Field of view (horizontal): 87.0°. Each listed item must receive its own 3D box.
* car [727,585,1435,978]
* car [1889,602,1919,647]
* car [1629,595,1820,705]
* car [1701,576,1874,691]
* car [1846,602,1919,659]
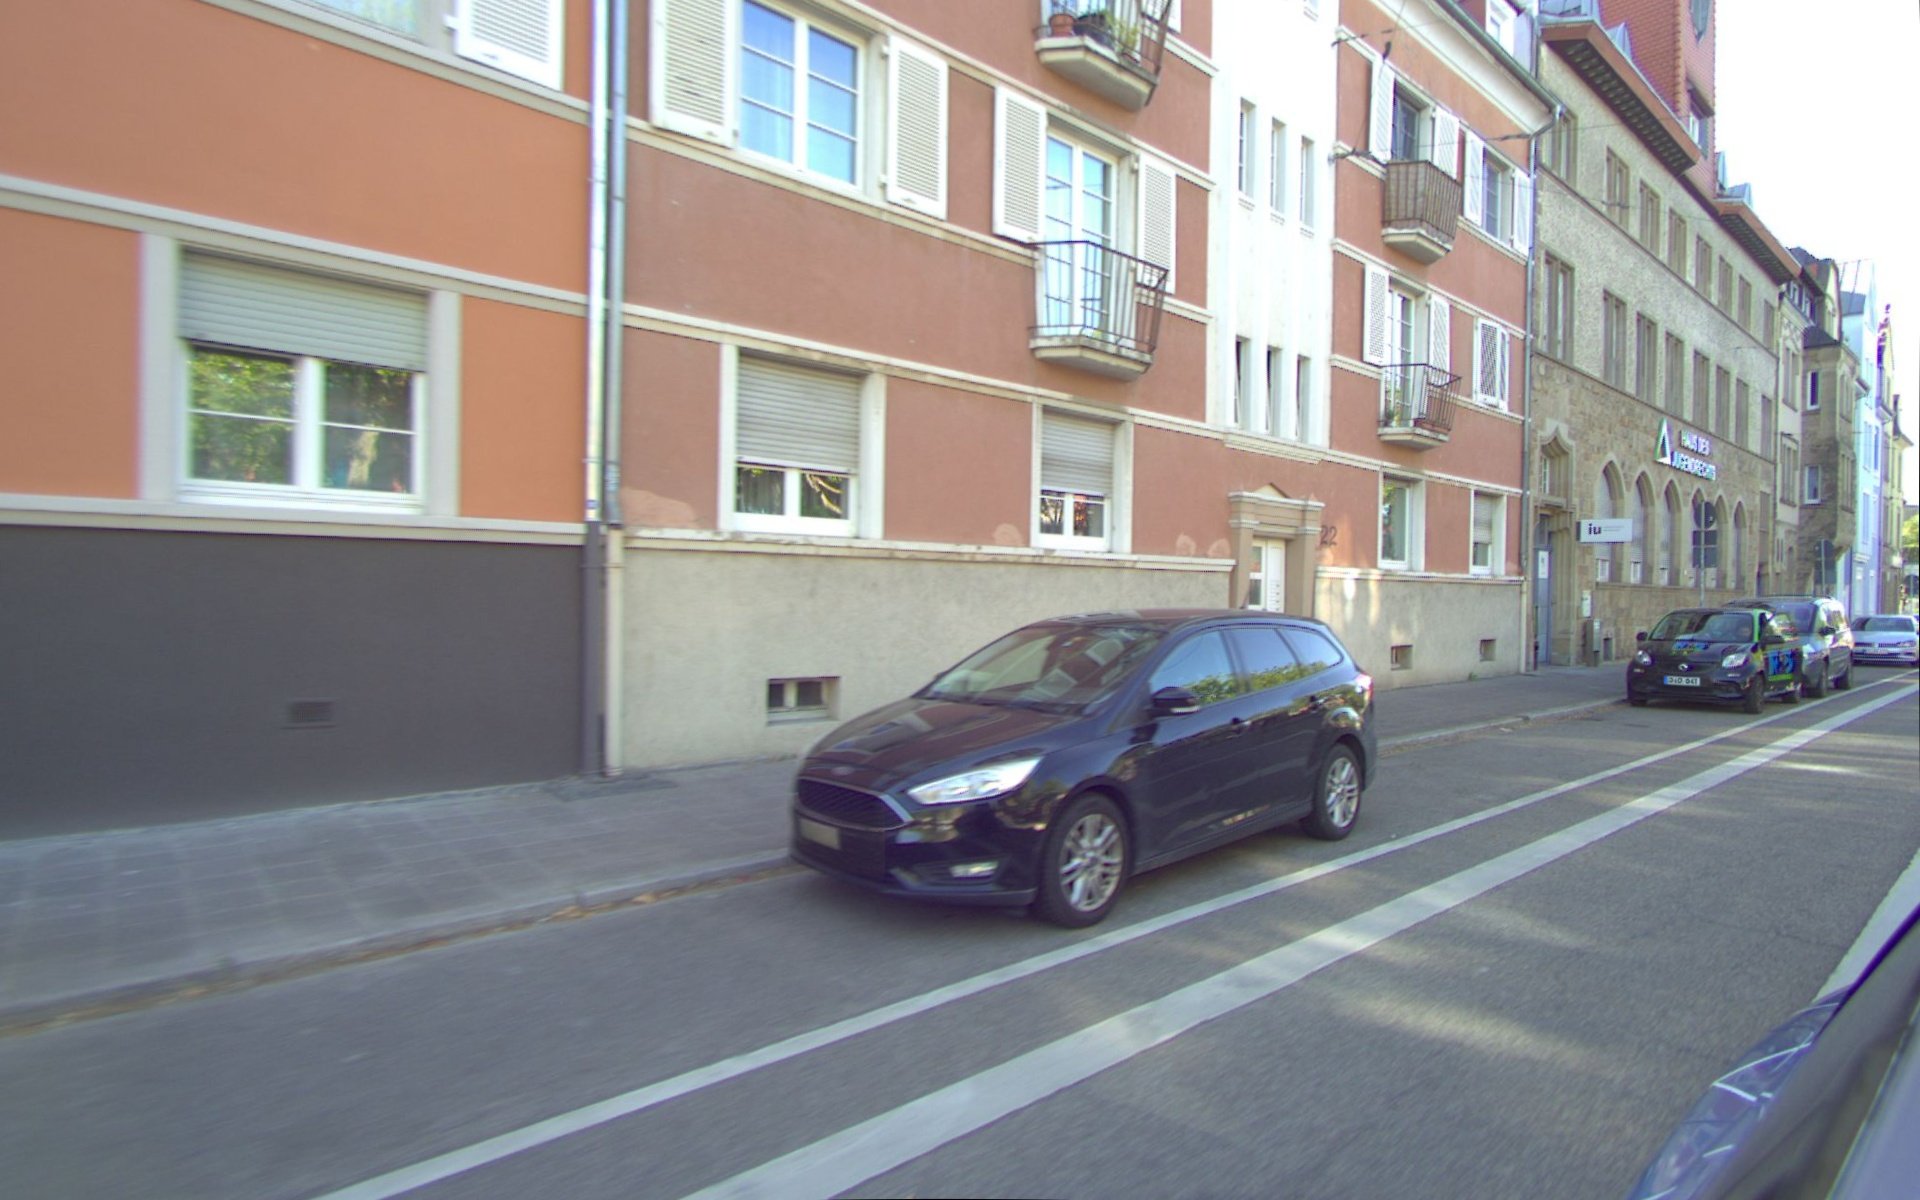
[{"bbox_3d":[1.080,0.724,6.220,4.683,1.531,1.755,0,-1,-44],"label":"car"},{"bbox_3d":[34.063,0.833,35.409,4.121,1.520,1.756,0,-1,-40],"label":"car"},{"bbox_3d":[12.099,0.706,15.949,3.651,1.531,1.634,0,-1,-40],"label":"car"},{"bbox_3d":[15.481,0.549,18.839,4.731,1.879,1.756,0,0,-41],"label":"car"},{"bbox_3d":[26.628,0.813,28.698,4.152,1.520,1.716,0,-1,-41],"label":"car"}]
